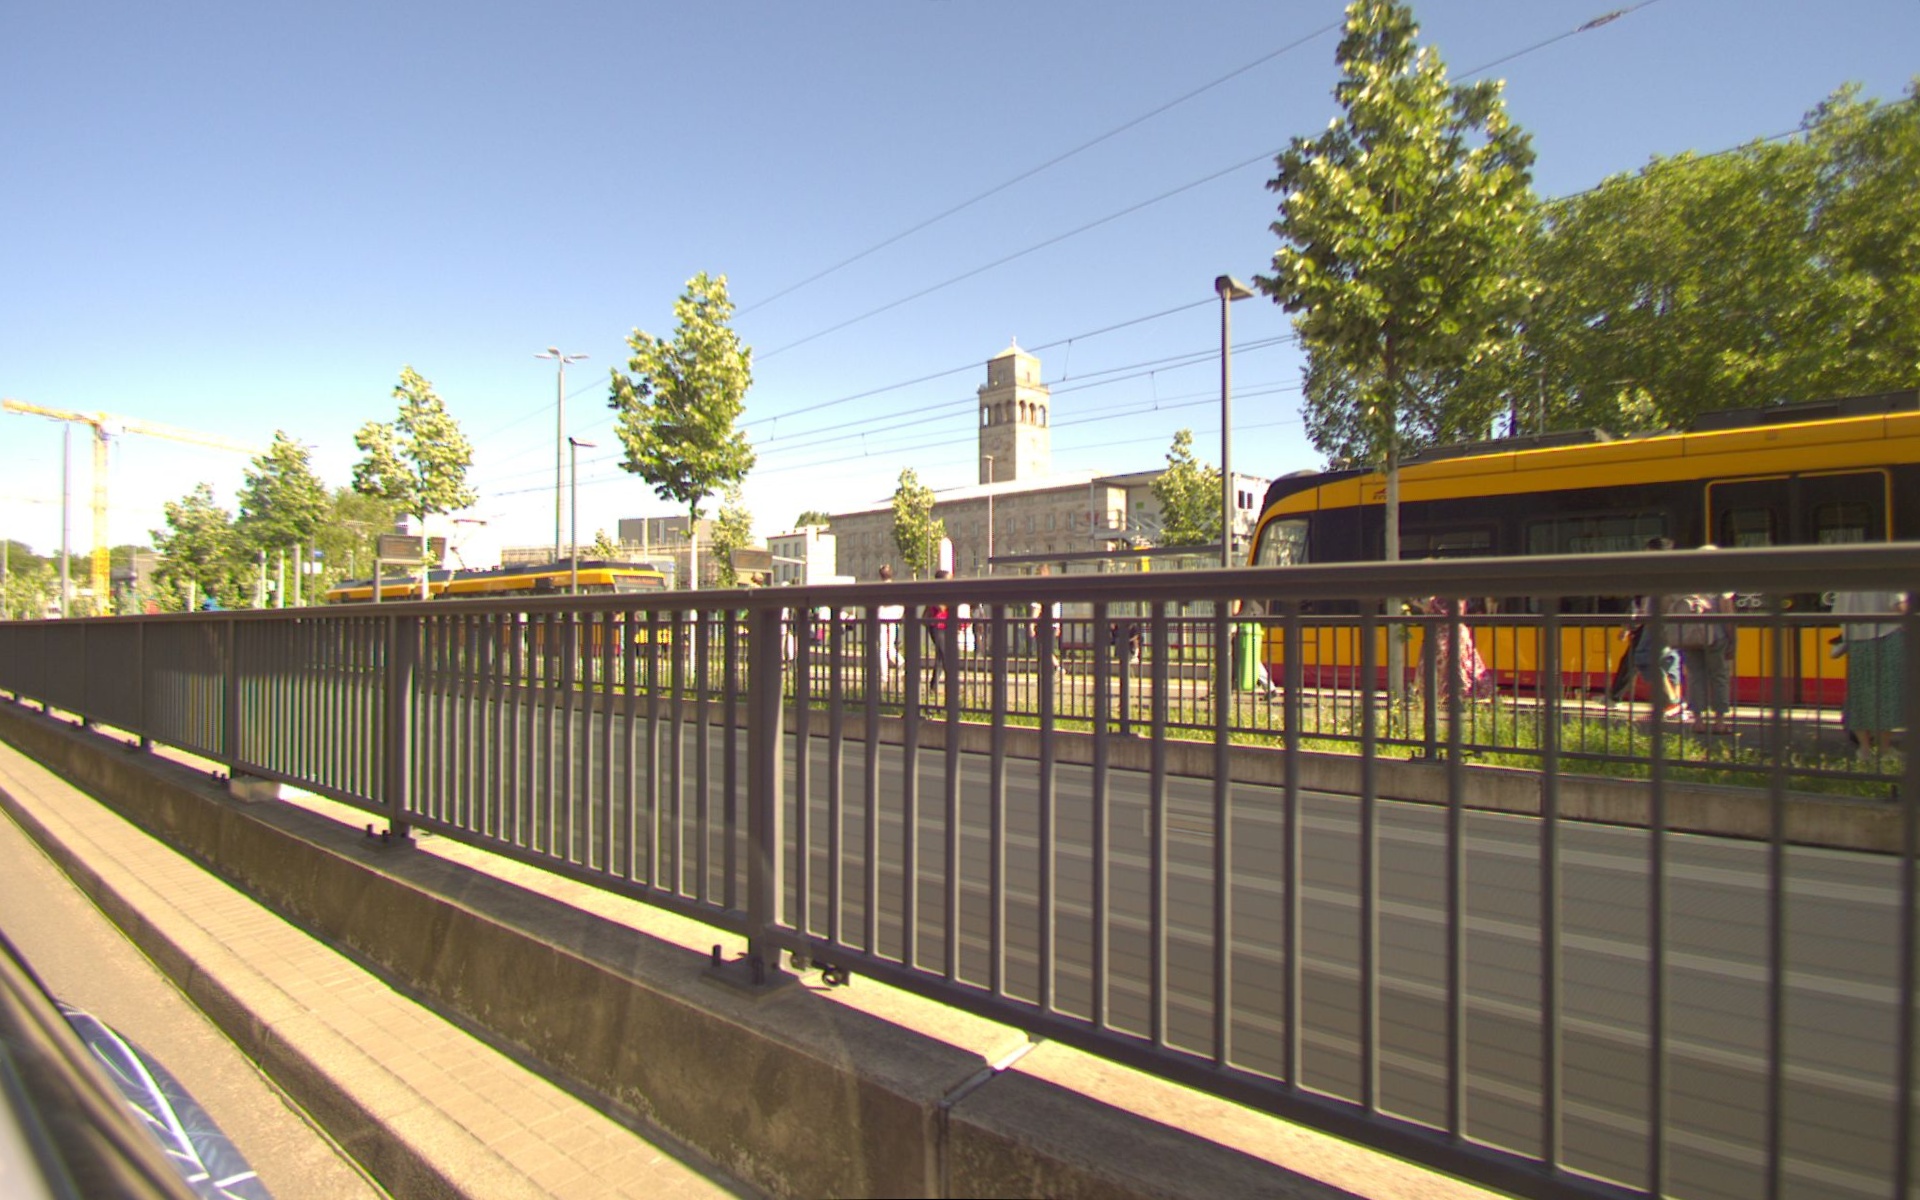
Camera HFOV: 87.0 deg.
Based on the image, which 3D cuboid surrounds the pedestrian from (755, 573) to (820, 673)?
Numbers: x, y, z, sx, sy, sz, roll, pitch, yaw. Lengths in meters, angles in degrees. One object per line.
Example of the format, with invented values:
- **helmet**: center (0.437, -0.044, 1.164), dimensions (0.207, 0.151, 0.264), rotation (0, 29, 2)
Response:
- **pedestrian**: center (-3.250, 0.438, 19.060), dimensions (1.074, 1.824, 0.665), rotation (-2, -2, 41)

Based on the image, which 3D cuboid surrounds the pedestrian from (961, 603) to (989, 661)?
- **pedestrian**: center (0.421, 0.904, 28.688), dimensions (0.590, 1.605, 0.525), rotation (-2, -2, 39)

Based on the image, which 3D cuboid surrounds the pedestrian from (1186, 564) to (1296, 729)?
- **pedestrian**: center (2.958, 0.476, 10.668), dimensions (0.861, 1.641, 0.733), rotation (-2, -2, 42)

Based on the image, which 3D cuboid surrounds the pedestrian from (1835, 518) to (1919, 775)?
- **pedestrian**: center (6.419, 0.299, 6.729), dimensions (0.861, 1.641, 0.733), rotation (-2, -2, 42)

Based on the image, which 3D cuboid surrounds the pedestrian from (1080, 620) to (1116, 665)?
- **pedestrian**: center (3.571, 1.098, 26.139), dimensions (0.682, 1.138, 0.649), rotation (-2, -2, 39)

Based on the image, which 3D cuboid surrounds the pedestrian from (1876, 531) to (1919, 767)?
- **pedestrian**: center (7.083, 0.340, 7.151), dimensions (0.861, 1.641, 0.733), rotation (-2, -2, 42)

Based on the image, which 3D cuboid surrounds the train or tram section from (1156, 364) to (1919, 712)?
- **train or tram section**: center (9.575, -0.595, 11.099), dimensions (15.177, 3.304, 2.840), rotation (-2, 0, 41)

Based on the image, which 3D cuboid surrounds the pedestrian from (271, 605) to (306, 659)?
- **pedestrian**: center (-22.850, 1.100, 34.444), dimensions (0.958, 1.788, 0.696), rotation (-3, -1, 38)

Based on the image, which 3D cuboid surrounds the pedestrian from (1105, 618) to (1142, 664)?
- **pedestrian**: center (4.138, 1.030, 25.660), dimensions (0.682, 1.138, 0.649), rotation (-2, -2, 39)

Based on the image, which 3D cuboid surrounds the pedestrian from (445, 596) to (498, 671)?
- **pedestrian**: center (-11.991, 0.821, 24.845), dimensions (0.977, 1.788, 0.783), rotation (-3, -1, 38)

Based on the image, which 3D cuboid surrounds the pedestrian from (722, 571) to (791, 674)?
- **pedestrian**: center (-3.709, 0.416, 18.480), dimensions (1.030, 1.824, 0.761), rotation (-2, -2, 41)

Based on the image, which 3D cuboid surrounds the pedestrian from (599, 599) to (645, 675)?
- **pedestrian**: center (-6.941, 0.750, 20.768), dimensions (0.588, 1.524, 0.641), rotation (-3, -1, 38)

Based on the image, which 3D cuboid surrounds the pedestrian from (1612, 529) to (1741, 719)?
- **pedestrian**: center (6.586, 0.217, 9.303), dimensions (0.861, 1.641, 0.733), rotation (-2, -2, 42)

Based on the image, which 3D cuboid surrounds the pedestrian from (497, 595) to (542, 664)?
- **pedestrian**: center (-11.603, 0.769, 26.666), dimensions (0.825, 1.788, 0.754), rotation (-3, -1, 38)

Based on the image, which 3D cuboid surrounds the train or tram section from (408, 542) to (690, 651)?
- **train or tram section**: center (-15.819, 0.037, 37.489), dimensions (15.958, 3.346, 2.818), rotation (-2, 0, 41)

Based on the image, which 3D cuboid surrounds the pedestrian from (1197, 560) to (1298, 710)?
- **pedestrian**: center (3.313, 0.394, 11.667), dimensions (0.861, 1.641, 0.733), rotation (-2, -2, 42)

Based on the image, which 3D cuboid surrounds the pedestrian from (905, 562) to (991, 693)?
- **pedestrian**: center (-0.159, 0.358, 13.317), dimensions (0.861, 1.641, 0.733), rotation (-2, -2, 42)

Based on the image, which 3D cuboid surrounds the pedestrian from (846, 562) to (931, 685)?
- **pedestrian**: center (-1.128, 0.367, 15.977), dimensions (1.007, 1.865, 0.877), rotation (-2, -2, 41)

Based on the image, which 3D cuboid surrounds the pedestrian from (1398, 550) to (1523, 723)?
- **pedestrian**: center (5.061, 0.360, 10.233), dimensions (0.947, 1.641, 0.733), rotation (-2, -2, 42)

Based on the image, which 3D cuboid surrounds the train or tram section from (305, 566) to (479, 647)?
- **train or tram section**: center (-26.707, 0.399, 47.063), dimensions (13.066, 3.334, 2.841), rotation (-2, 0, 41)

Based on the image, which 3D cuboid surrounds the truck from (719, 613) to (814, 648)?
- **truck**: center (-16.374, 2.584, 86.074), dimensions (7.913, 2.814, 2.465), rotation (1, -2, -43)

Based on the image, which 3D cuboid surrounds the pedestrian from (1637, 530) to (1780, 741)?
- **pedestrian**: center (6.250, 0.286, 8.454), dimensions (0.861, 1.641, 0.733), rotation (-2, -2, 42)

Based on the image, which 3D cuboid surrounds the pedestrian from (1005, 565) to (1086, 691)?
- **pedestrian**: center (1.206, 0.385, 14.280), dimensions (0.861, 1.707, 0.733), rotation (-2, -2, 42)

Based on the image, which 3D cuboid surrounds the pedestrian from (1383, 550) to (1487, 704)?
- **pedestrian**: center (5.337, 0.298, 11.376), dimensions (0.861, 1.641, 0.733), rotation (-2, -2, 42)

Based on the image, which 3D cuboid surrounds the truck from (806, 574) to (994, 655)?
- **truck**: center (-2.587, 0.605, 41.121), dimensions (7.949, 2.992, 2.690), rotation (-2, 0, 41)

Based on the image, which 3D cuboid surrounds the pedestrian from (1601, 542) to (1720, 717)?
- **pedestrian**: center (6.960, 0.285, 10.059), dimensions (0.861, 1.641, 0.733), rotation (-2, -2, 42)

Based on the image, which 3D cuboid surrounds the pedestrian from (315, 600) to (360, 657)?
- **pedestrian**: center (-20.251, 0.924, 32.901), dimensions (1.187, 1.788, 0.865), rotation (-3, -1, 38)
